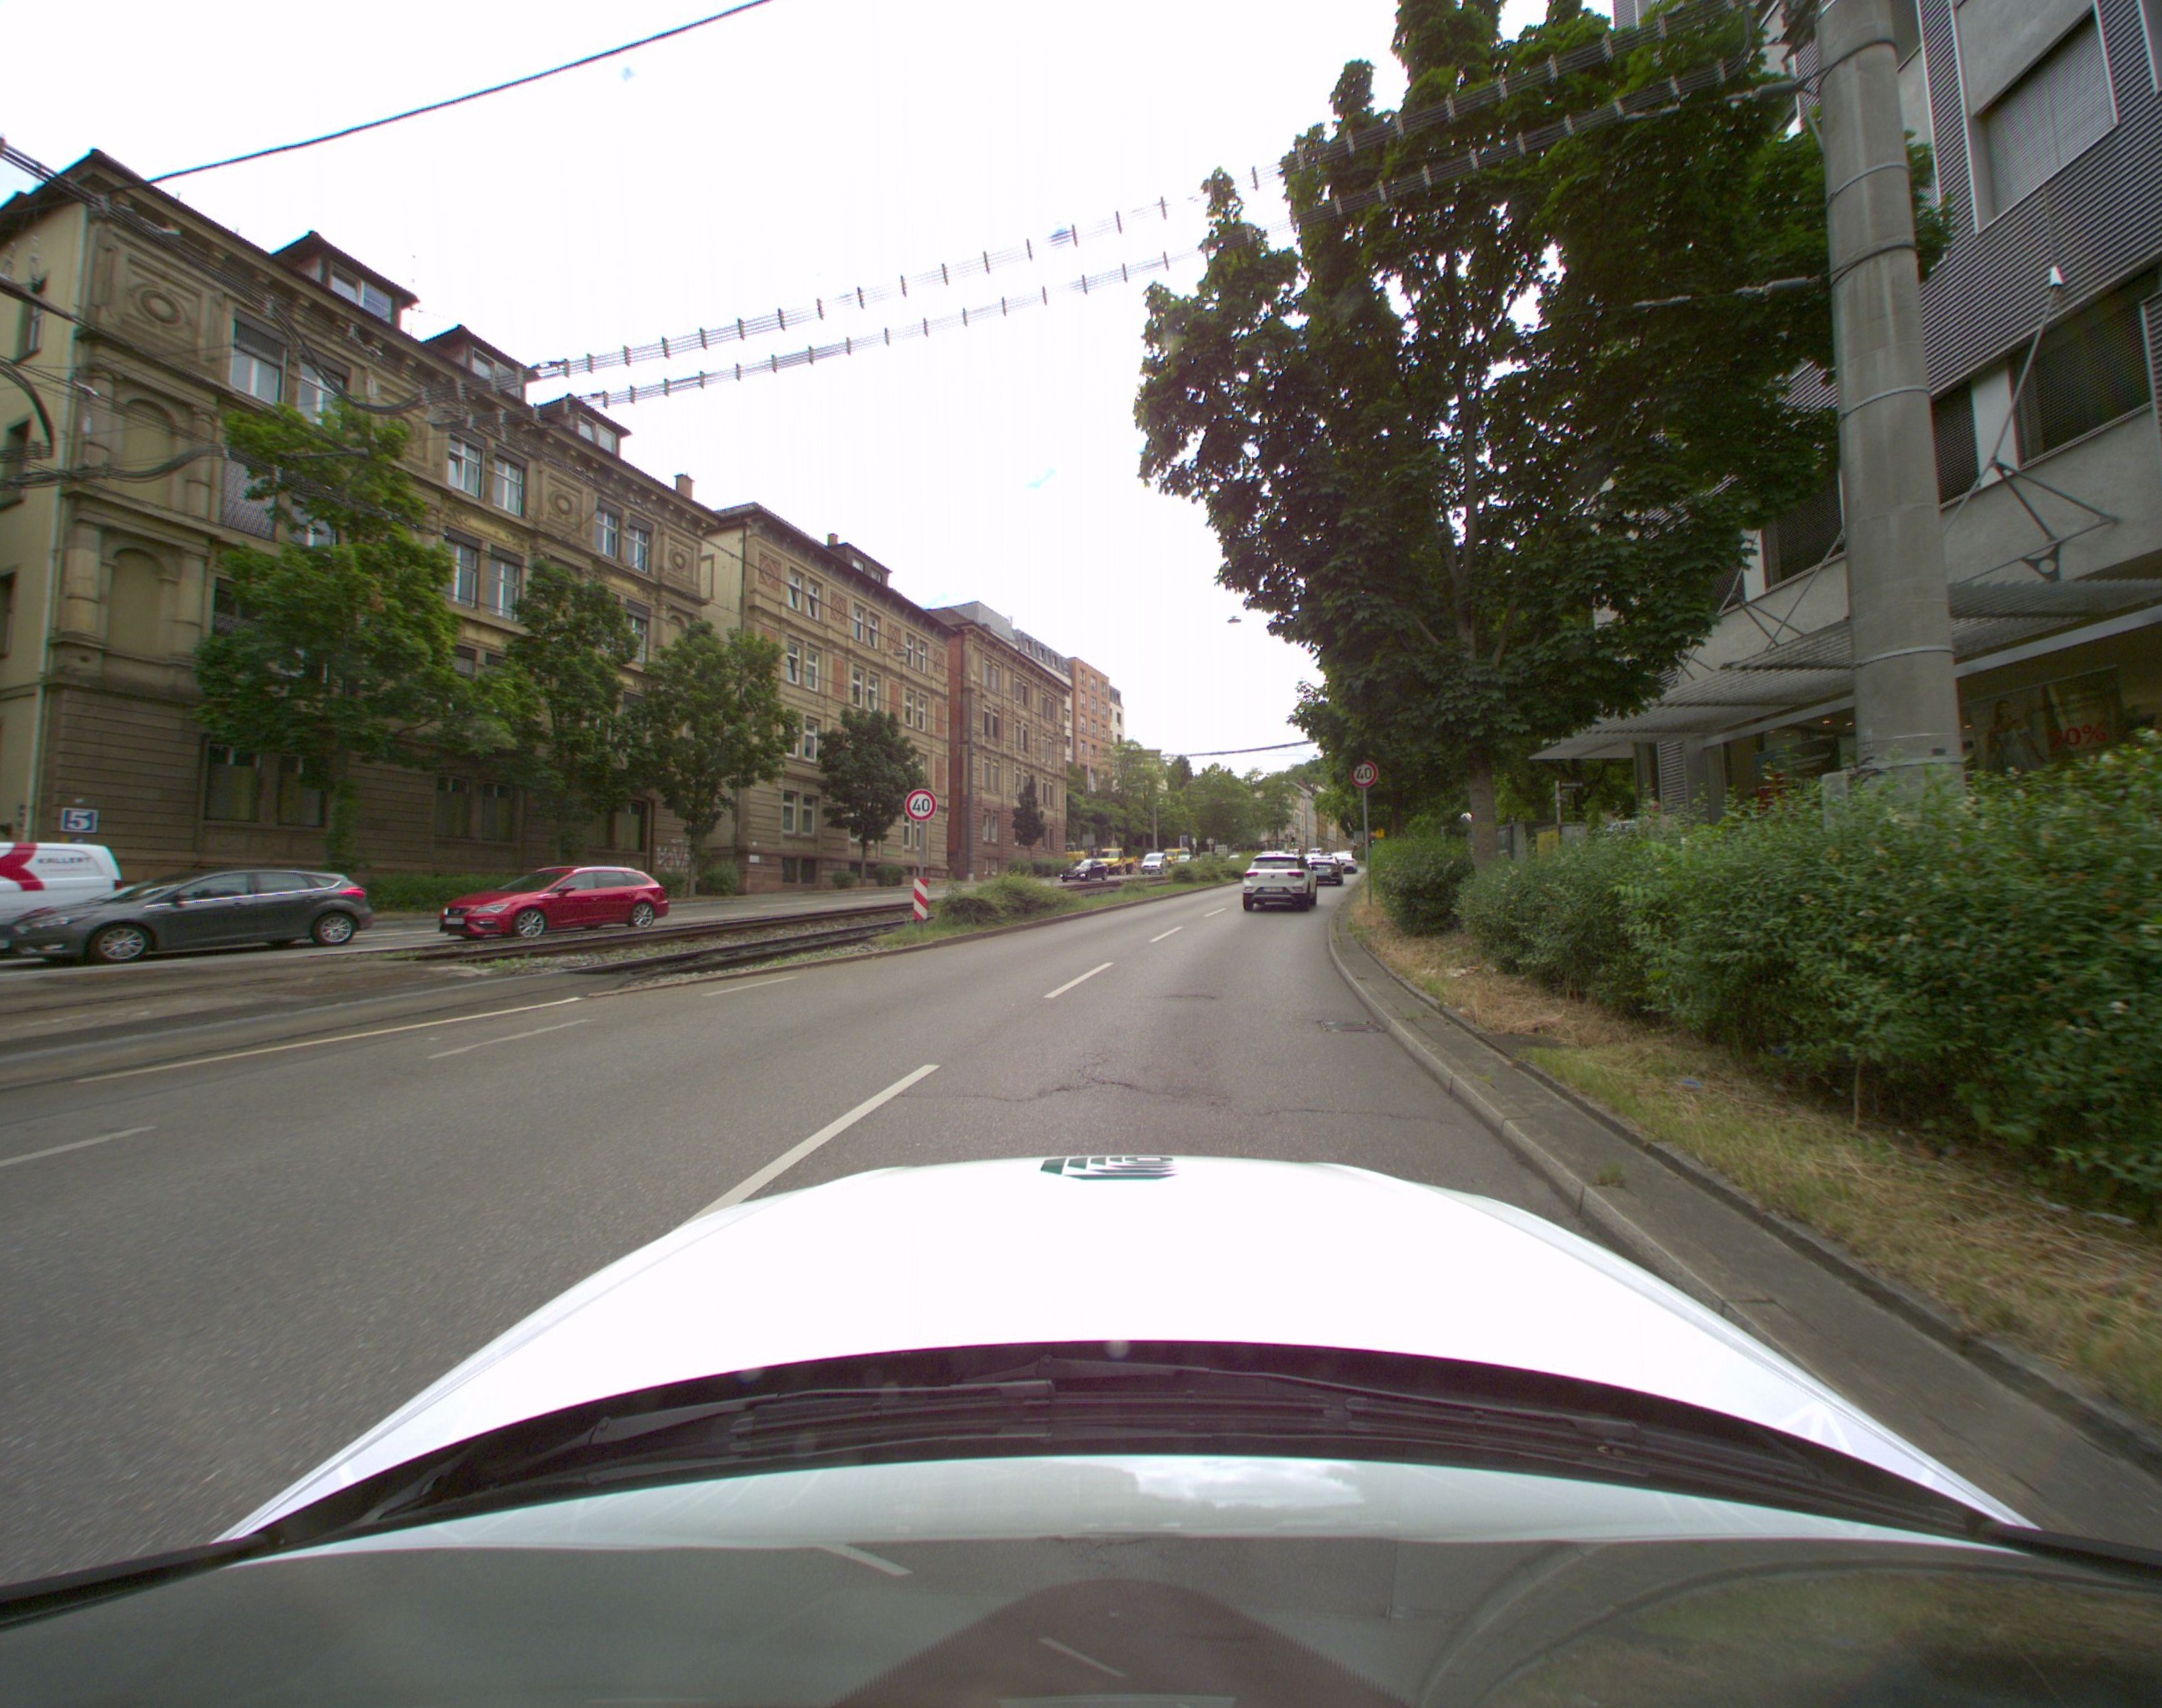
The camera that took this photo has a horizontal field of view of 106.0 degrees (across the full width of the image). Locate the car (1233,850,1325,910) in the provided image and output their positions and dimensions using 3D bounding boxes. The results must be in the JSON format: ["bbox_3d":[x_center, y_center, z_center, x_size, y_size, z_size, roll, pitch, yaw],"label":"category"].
[{"bbox_3d":[5.768,0.719,23.405,1.921,1.567,4.068,-1,-1,23],"label":"car"}]

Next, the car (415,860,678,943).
[{"bbox_3d":[-11.190,0.911,17.483,1.977,1.519,4.427,-1,0,19],"label":"car"}]

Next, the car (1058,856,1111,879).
[{"bbox_3d":[0.286,0.874,53.398,1.804,1.450,4.971,0,0,21],"label":"car"}]

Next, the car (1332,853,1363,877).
[{"bbox_3d":[18.789,0.755,57.342,1.977,1.623,4.019,0,-1,19],"label":"car"}]

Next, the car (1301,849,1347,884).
[{"bbox_3d":[11.703,0.629,39.396,1.889,1.574,3.847,1,-2,13],"label":"car"}]

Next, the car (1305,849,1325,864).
[{"bbox_3d":[34.166,0.389,118.861,2.402,2.169,6.062,0,0,19],"label":"car"}]

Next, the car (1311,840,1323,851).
[{"bbox_3d":[47.193,-1.682,162.670,1.976,2.014,4.021,-3,-1,21],"label":"car"}]

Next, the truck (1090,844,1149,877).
[{"bbox_3d":[3.447,0.617,70.930,2.893,2.510,7.189,3,-1,21],"label":"truck"}]

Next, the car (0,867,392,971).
[{"bbox_3d":[-14.817,0.962,13.860,1.728,1.427,4.427,-1,-1,19],"label":"car"}]

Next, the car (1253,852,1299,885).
[{"bbox_3d":[10.657,0.781,44.293,1.823,1.740,4.021,0,-1,22],"label":"car"}]

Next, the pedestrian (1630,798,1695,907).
[{"bbox_3d":[9.773,-0.029,13.705,0.671,1.794,0.609,0,-1,1],"label":"pedestrian"}]

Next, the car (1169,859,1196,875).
[{"bbox_3d":[10.342,1.347,82.913,1.850,1.555,4.458,1,-1,19],"label":"car"}]

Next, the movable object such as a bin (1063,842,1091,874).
[{"bbox_3d":[-0.389,0.376,73.793,1.979,2.838,2.038,-2,-1,15],"label":"movable object such as a bin"}]

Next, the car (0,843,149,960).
[{"bbox_3d":[-18.391,0.737,12.451,1.977,1.850,5.018,0,-1,20],"label":"car"}]
